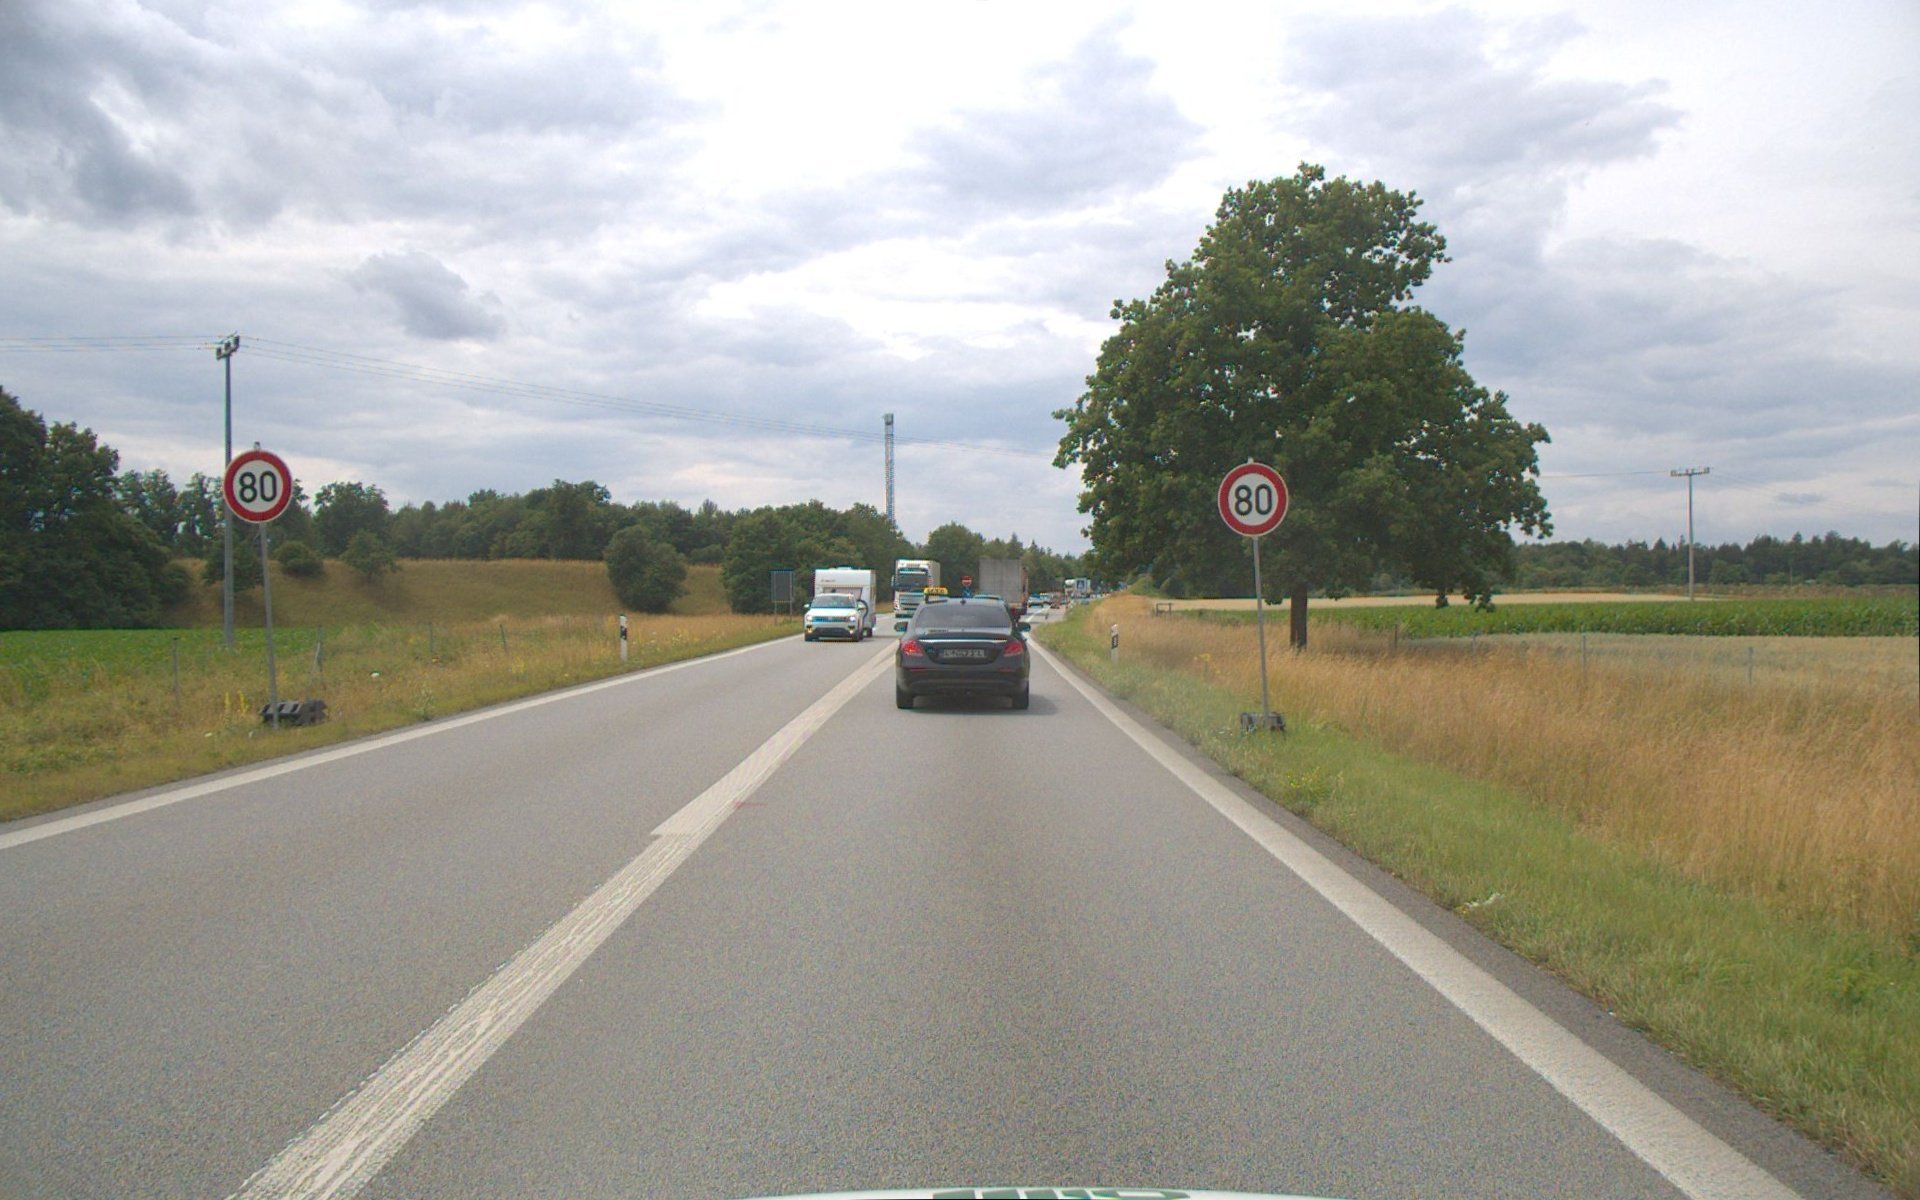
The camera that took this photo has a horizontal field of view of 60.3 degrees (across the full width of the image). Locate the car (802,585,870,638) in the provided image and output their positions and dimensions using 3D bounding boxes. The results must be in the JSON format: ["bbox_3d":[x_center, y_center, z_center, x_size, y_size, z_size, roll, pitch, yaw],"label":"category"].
[{"bbox_3d":[-4.191,0.379,56.366,1.965,1.686,4.326,1,0,0],"label":"car"}]

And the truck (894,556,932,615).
[{"bbox_3d":[-3.273,-1.012,116.840,2.438,4.065,5.205,0,0,1],"label":"truck"}]

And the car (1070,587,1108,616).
[{"bbox_3d":[7.971,0.113,102.364,1.760,1.691,3.997,1,0,-3],"label":"car"}]

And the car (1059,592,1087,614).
[{"bbox_3d":[8.922,0.256,130.908,1.760,1.691,3.997,1,0,-3],"label":"car"}]

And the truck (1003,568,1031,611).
[{"bbox_3d":[4.885,-0.897,143.192,1.954,3.587,4.589,1,-1,-3],"label":"truck"}]

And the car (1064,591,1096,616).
[{"bbox_3d":[8.473,0.234,117.218,1.760,1.691,3.997,1,0,-3],"label":"car"}]

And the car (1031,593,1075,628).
[{"bbox_3d":[4.671,0.520,83.340,1.760,1.691,3.997,1,0,-3],"label":"car"}]

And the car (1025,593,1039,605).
[{"bbox_3d":[9.211,-0.138,212.319,1.615,1.420,3.706,1,0,1],"label":"car"}]

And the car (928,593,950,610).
[{"bbox_3d":[-1.984,0.149,158.589,1.819,1.505,5.198,1,0,1],"label":"car"}]

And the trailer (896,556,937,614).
[{"bbox_3d":[-3.139,-1.069,123.082,2.438,4.065,13.078,0,0,1],"label":"trailer"}]

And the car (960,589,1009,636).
[{"bbox_3d":[1.101,0.567,75.889,1.954,2.049,3.997,1,0,-3],"label":"car"}]

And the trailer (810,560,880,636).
[{"bbox_3d":[-4.227,-0.052,61.665,2.137,2.620,6.243,1,0,0],"label":"trailer"}]

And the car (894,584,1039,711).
[{"bbox_3d":[0.007,0.625,23.177,1.760,1.587,3.997,1,0,-3],"label":"car"}]

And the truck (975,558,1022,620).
[{"bbox_3d":[2.386,-0.631,100.881,2.532,3.586,4.815,1,-1,4],"label":"truck"}]
